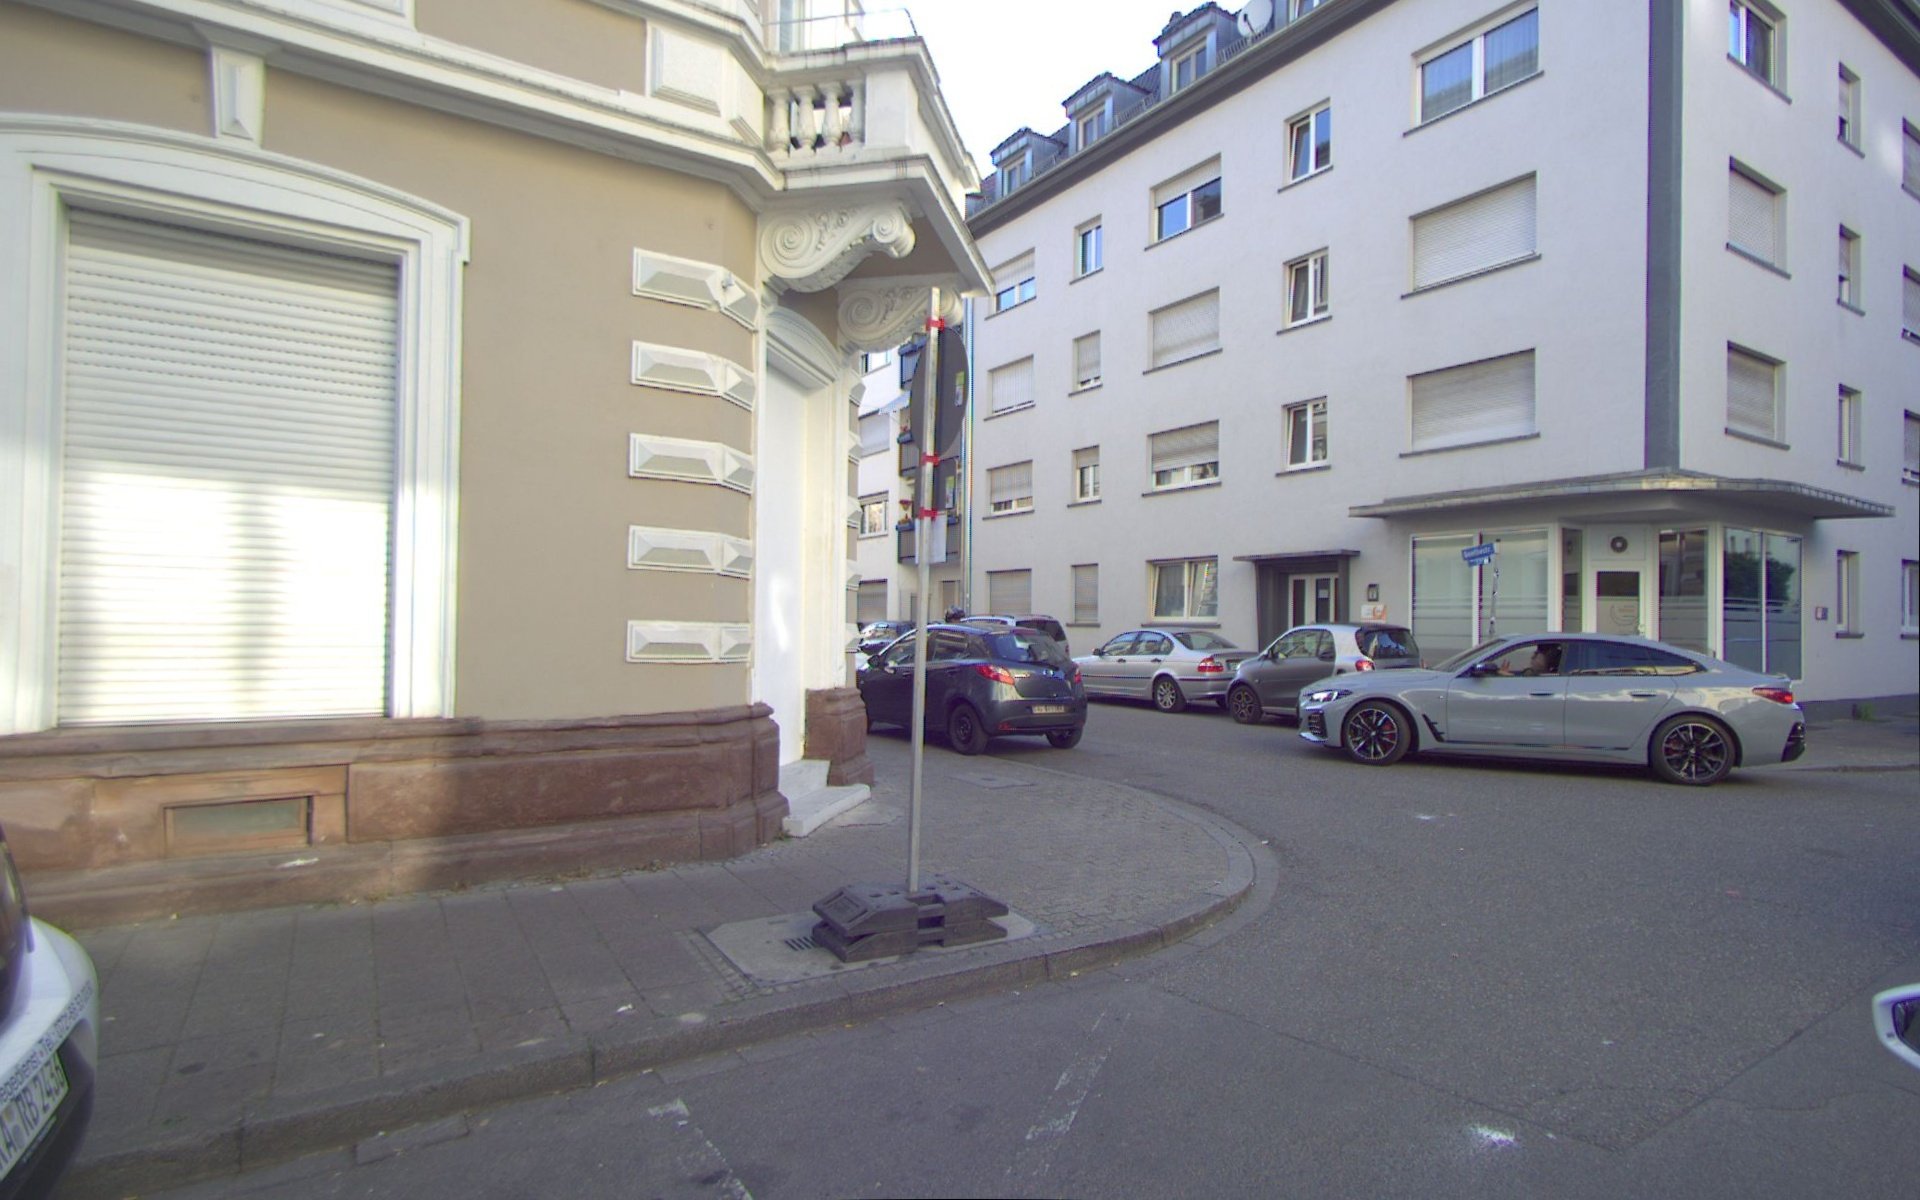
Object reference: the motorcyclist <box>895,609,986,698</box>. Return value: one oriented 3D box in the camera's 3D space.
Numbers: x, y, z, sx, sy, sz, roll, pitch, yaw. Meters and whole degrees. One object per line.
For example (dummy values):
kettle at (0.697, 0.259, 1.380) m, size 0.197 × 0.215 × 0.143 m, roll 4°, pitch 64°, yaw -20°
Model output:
motorcyclist at (-0.322, 0.827, 15.927) m, size 0.961 × 1.347 × 1.217 m, roll 1°, pitch -1°, yaw -32°

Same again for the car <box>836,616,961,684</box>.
car at (-1.670, 1.257, 26.246) m, size 1.587 × 1.560 × 3.685 m, roll 1°, pitch 0°, yaw -34°

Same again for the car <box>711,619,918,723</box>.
car at (-2.568, 1.069, 16.754) m, size 1.884 × 1.481 × 4.286 m, roll 1°, pitch -1°, yaw -32°

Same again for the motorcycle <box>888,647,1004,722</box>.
motorcycle at (-0.254, 1.283, 15.800) m, size 0.961 × 1.042 × 1.979 m, roll 1°, pitch -1°, yaw -32°

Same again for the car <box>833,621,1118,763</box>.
car at (0.063, 1.012, 12.525) m, size 1.713 × 1.470 × 3.639 m, roll 1°, pitch -2°, yaw -36°

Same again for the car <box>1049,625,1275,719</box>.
car at (3.555, 1.222, 18.377) m, size 1.586 × 1.422 × 4.179 m, roll 1°, pitch -1°, yaw -33°

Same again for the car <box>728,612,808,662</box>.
car at (-6.692, 1.259, 34.752) m, size 1.585 × 1.560 × 3.473 m, roll 1°, pitch 0°, yaw -31°

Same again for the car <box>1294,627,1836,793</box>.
car at (6.147, 1.052, 10.939) m, size 4.716 × 1.470 × 1.934 m, roll 0°, pitch -1°, yaw 20°

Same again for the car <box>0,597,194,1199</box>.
car at (-3.498, 0.770, 0.918) m, size 4.218 × 1.527 × 1.911 m, roll 1°, pitch -3°, yaw -31°

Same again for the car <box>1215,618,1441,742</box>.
car at (5.371, 1.101, 14.894) m, size 1.576 × 1.560 × 2.771 m, roll 1°, pitch 0°, yaw -31°

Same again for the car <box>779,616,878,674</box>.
car at (-4.019, 1.307, 30.225) m, size 1.586 × 1.560 × 3.470 m, roll 1°, pitch 0°, yaw -33°

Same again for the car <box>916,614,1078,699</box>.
car at (0.726, 1.183, 22.477) m, size 1.586 × 1.626 × 3.993 m, roll 1°, pitch 0°, yaw -33°
